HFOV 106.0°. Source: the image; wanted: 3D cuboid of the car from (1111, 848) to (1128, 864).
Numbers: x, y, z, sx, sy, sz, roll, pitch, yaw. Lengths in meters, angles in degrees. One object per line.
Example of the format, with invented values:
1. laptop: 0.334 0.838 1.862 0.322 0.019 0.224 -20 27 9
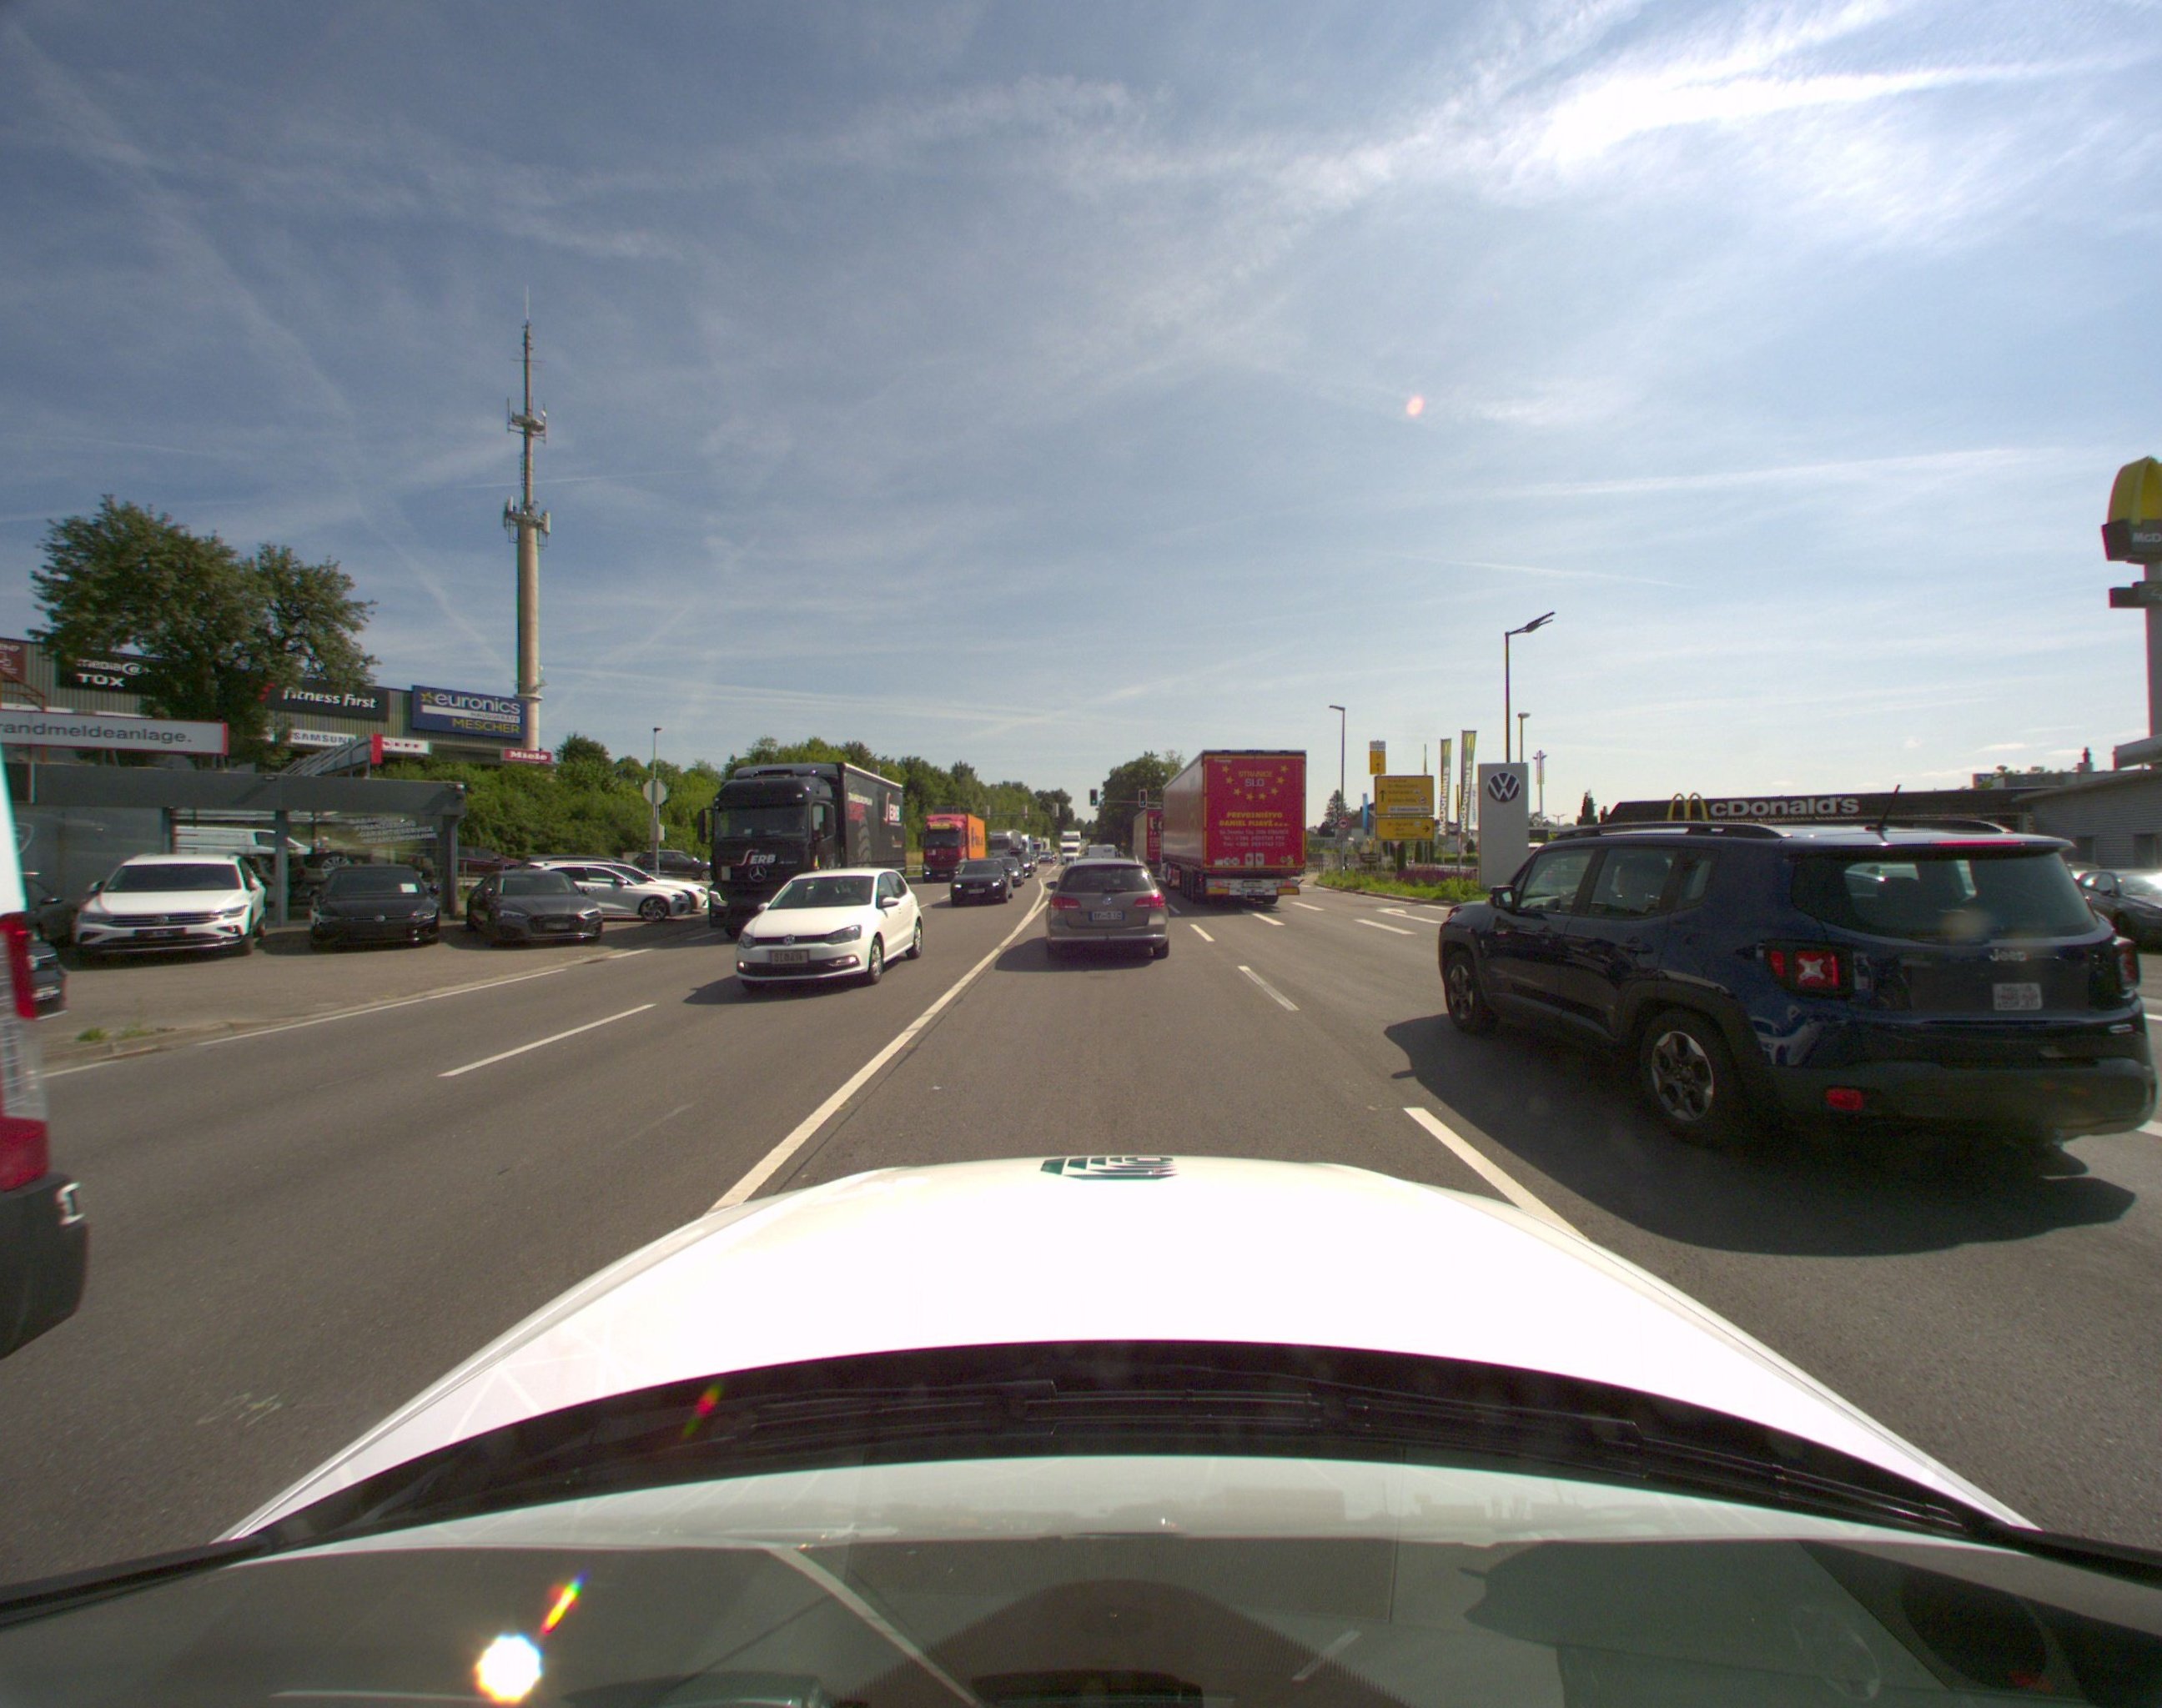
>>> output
1. car: 5.273 0.269 111.459 1.988 2.013 3.999 -1 0 -1

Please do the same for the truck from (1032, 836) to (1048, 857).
1. truck: -8.132 -1.456 161.848 2.721 3.999 9.616 -1 0 -1

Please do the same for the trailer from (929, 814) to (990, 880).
1. trailer: -8.161 -0.446 56.125 2.714 3.998 12.224 -1 0 -2

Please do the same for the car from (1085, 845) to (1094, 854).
1. car: 2.074 -1.031 194.119 1.988 2.013 3.999 -1 0 -1

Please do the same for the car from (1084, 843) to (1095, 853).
1. car: 1.735 -1.195 160.951 1.988 2.013 3.999 -1 0 -1

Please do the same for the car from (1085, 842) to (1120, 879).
1. car: 1.176 0.349 46.386 1.765 1.936 3.976 -1 0 -1

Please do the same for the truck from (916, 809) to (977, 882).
1. truck: -7.879 -0.490 48.458 2.714 3.998 6.052 -1 0 -2

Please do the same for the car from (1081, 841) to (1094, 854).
1. car: 1.112 -1.118 138.092 1.988 2.013 3.999 -1 0 -1

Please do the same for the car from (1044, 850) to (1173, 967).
1. car: 0.338 0.719 12.795 1.686 1.513 3.998 -1 0 -1

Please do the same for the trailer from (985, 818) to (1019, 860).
1. trailer: -8.240 -1.512 85.253 2.635 4.105 6.183 -1 0 2

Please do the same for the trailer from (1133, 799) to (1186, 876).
1. trailer: 4.793 -0.966 52.120 2.386 4.243 13.081 -1 0 1

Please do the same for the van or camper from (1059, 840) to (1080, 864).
1. van or camper: -1.276 -0.253 94.310 2.323 2.600 6.978 -1 0 0

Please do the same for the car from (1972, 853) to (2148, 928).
1. car: 22.784 0.773 19.143 1.753 1.518 3.986 -1 0 37

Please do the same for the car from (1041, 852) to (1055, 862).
1. car: -5.009 0.458 123.758 1.989 1.485 4.449 -1 0 -3

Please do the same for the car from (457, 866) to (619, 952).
1. car: -11.562 1.032 17.209 4.583 1.436 1.986 1 1 45

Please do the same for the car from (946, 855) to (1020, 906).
1. car: -3.148 0.808 26.984 1.705 1.443 4.381 -3 0 2

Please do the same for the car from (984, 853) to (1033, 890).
1. car: -3.432 0.780 39.183 1.855 1.524 4.589 -2 1 0

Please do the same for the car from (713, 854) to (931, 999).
1. car: -3.332 0.832 11.316 1.648 1.555 4.000 -3 0 0

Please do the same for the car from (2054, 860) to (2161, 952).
1. car: 20.207 0.907 15.231 1.728 1.476 3.820 -1 0 37

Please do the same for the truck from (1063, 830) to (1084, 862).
1. truck: -1.053 -1.011 108.033 2.530 4.087 6.262 -1 0 -2

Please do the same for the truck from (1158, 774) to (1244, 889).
1. truck: 4.762 -0.854 33.277 2.859 4.281 5.842 1 0 2

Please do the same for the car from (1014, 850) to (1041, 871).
1. car: -4.397 0.494 66.980 1.916 1.602 4.587 -3 1 -1

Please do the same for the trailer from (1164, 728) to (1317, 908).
1. trailer: 4.570 -0.902 26.499 2.828 4.365 13.174 1 0 2

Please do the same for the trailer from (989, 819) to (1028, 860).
1. trailer: -8.028 -1.527 91.977 2.681 4.147 13.885 -1 0 2

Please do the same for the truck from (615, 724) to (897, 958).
1. truck: -6.755 -0.250 19.108 2.703 3.998 9.971 -1 0 -1

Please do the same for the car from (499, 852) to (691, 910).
1. car: -14.918 0.841 25.170 4.821 1.626 1.909 2 -2 -41

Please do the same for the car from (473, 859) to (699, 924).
1. car: -12.576 0.948 20.972 4.732 1.475 1.874 2 -1 -32

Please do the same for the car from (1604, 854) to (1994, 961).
1. car: 12.055 0.825 14.015 1.977 1.332 4.758 5 -1 -44

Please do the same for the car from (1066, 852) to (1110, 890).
1. car: 0.269 0.711 35.820 1.765 1.513 3.998 -1 0 -1

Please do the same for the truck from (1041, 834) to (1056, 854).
1. truck: -7.139 -2.197 179.906 2.821 4.116 9.677 -1 0 -1

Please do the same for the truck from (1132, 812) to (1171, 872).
1. truck: 5.033 -0.835 58.936 2.397 4.127 5.523 -1 0 1

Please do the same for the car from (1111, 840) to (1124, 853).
1. car: 5.991 -1.231 134.707 1.988 2.013 3.999 -1 0 -1

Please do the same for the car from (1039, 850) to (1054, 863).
1. car: -4.525 0.312 107.069 1.837 1.732 4.587 0 1 -1

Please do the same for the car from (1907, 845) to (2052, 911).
1. car: 25.693 0.610 23.495 1.888 1.671 4.849 -1 0 37

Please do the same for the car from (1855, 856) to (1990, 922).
1. car: 21.614 0.829 21.099 1.773 1.450 4.181 -1 0 37

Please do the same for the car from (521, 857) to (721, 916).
1. car: -13.212 0.931 23.537 4.739 1.513 1.933 2 -1 -39

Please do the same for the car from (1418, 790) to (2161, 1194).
1. car: 3.916 0.568 5.404 1.764 1.654 4.001 -1 0 1

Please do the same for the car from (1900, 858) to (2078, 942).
1. car: 19.217 0.885 17.452 1.727 1.491 4.291 -1 0 37

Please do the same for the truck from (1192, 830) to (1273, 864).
1. truck: 18.970 -0.831 102.196 9.692 3.628 2.751 4 -1 -17

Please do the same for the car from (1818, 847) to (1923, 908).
1. car: 23.899 0.651 24.792 1.753 1.671 4.197 -1 0 37

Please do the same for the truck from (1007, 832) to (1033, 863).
1. truck: -8.534 -0.917 115.128 3.178 4.079 6.343 -1 0 -1

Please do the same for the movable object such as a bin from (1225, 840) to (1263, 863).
1. movable object such as a bin: 24.030 -0.392 119.880 2.863 3.207 6.748 -1 0 37

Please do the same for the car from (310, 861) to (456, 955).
1. car: -13.843 0.944 16.063 4.291 1.486 1.810 1 1 44

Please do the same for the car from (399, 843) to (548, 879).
1. car: -26.340 0.369 35.441 5.001 1.419 1.926 2 -3 -43

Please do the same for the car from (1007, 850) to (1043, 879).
1. car: -3.451 0.595 50.759 1.903 1.602 4.587 -3 1 -1

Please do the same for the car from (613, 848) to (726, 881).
1. car: -20.597 0.531 40.910 4.662 1.527 1.892 2 -1 -43
